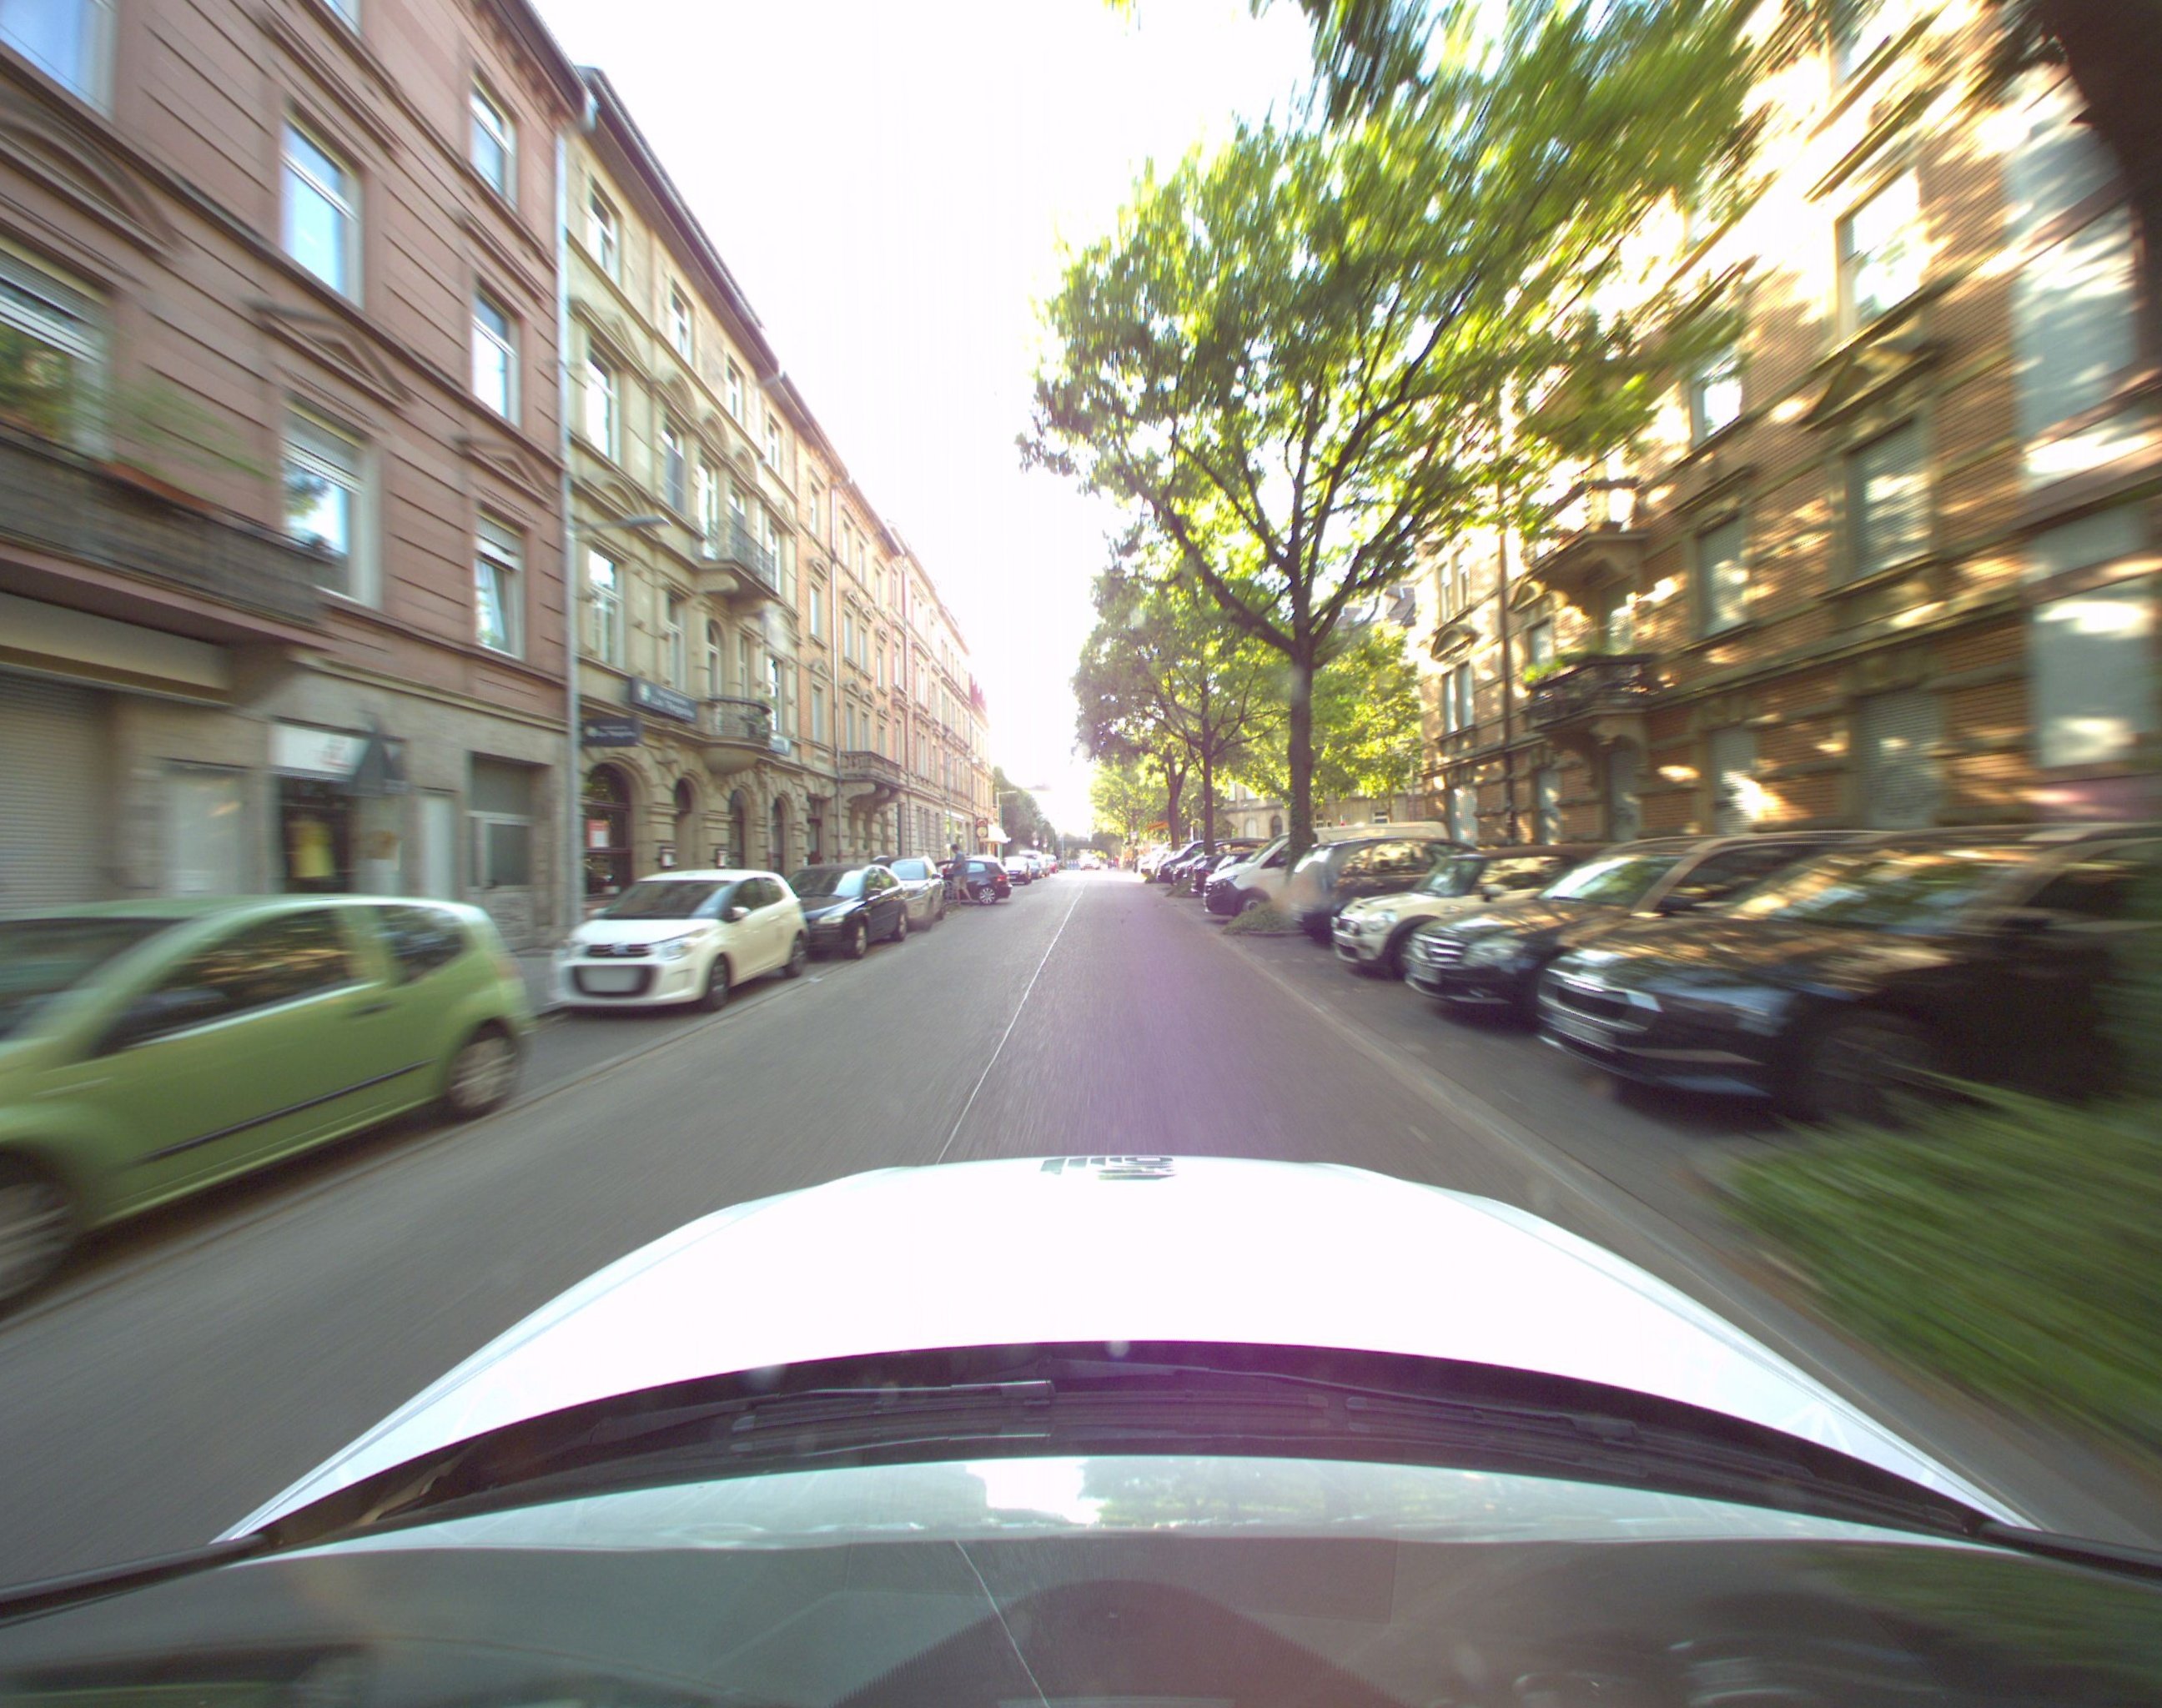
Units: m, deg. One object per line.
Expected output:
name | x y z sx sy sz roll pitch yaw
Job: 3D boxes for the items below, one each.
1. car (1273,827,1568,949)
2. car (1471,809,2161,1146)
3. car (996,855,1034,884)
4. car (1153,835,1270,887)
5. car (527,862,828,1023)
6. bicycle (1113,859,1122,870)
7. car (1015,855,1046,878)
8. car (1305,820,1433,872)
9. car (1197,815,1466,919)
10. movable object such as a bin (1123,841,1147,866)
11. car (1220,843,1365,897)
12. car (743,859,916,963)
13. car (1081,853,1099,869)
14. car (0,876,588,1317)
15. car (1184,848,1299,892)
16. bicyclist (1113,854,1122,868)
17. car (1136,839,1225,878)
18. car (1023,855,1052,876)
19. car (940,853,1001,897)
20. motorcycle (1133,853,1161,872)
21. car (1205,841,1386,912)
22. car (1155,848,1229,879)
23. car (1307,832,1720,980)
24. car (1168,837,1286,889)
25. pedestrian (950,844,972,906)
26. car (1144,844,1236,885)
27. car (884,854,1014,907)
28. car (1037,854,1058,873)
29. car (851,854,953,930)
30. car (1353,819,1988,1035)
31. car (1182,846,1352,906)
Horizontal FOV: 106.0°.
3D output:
car | 5.185 0.483 12.750 3.876 1.649 1.722 -2 0 -4
car | 5.054 0.554 4.802 4.534 1.529 2.001 -2 0 2
car | -3.581 0.824 44.681 1.698 1.454 4.020 -2 0 0
car | 5.492 0.301 34.768 4.602 2.013 1.999 -2 0 -1
car | -4.562 0.885 9.956 1.576 1.473 4.001 -2 0 1
bicycle | 3.466 0.990 77.023 0.800 0.968 2.109 0 0 1
car | -3.378 0.819 54.855 1.759 1.437 4.300 -1 0 0
car | 15.062 -0.414 42.821 5.884 2.537 2.376 -1 0 -5
car | 5.159 0.324 17.407 5.073 1.940 2.158 -2 -4 1
movable object such as a bin | 5.802 -0.044 87.918 1.979 2.699 3.122 -1 -1 14
car | 6.533 0.484 25.497 4.066 1.497 1.844 -2 0 1
car | -4.152 0.863 14.130 1.642 1.473 4.001 1 0 1
car | 0.896 0.674 80.324 1.743 1.509 4.001 -2 0 1
car | -4.585 0.912 4.067 1.699 1.439 3.960 -2 0 2
car | 5.809 0.560 29.857 3.967 1.448 1.893 -2 0 5
bicyclist | 3.475 0.650 76.984 0.800 1.383 0.985 0 0 0
car | 5.780 0.234 47.705 4.955 2.096 2.106 -2 0 1
car | -3.184 0.835 60.072 1.719 1.437 3.998 0 0 2
car | -4.302 0.787 32.276 1.735 1.567 3.897 -2 0 2
motorcycle | 4.944 0.661 61.020 2.017 1.285 0.904 -4 0 -1
car | 5.313 0.527 20.419 3.982 1.474 1.778 -3 0 -7
car | 6.023 0.511 44.679 3.827 1.595 1.741 -2 0 1
car | 5.085 0.566 9.940 4.096 1.503 1.809 -2 0 -4
car | 5.724 0.334 32.344 4.258 1.885 1.938 -2 0 -3
pedestrian | -3.742 0.639 25.373 0.638 1.887 0.590 -2 0 -10
car | 4.974 0.470 37.520 3.975 1.692 1.800 -2 0 -1
car | -4.206 0.832 26.547 3.980 1.529 1.823 -2 0 -5
car | -2.838 0.797 70.404 1.664 1.530 3.998 -1 0 -1
car | -4.064 0.796 19.087 1.644 1.574 4.045 1 0 -3
car | 5.130 0.535 7.420 4.656 1.503 1.927 -2 0 -8
car | 5.156 0.595 23.048 4.353 1.455 1.934 -2 0 1
